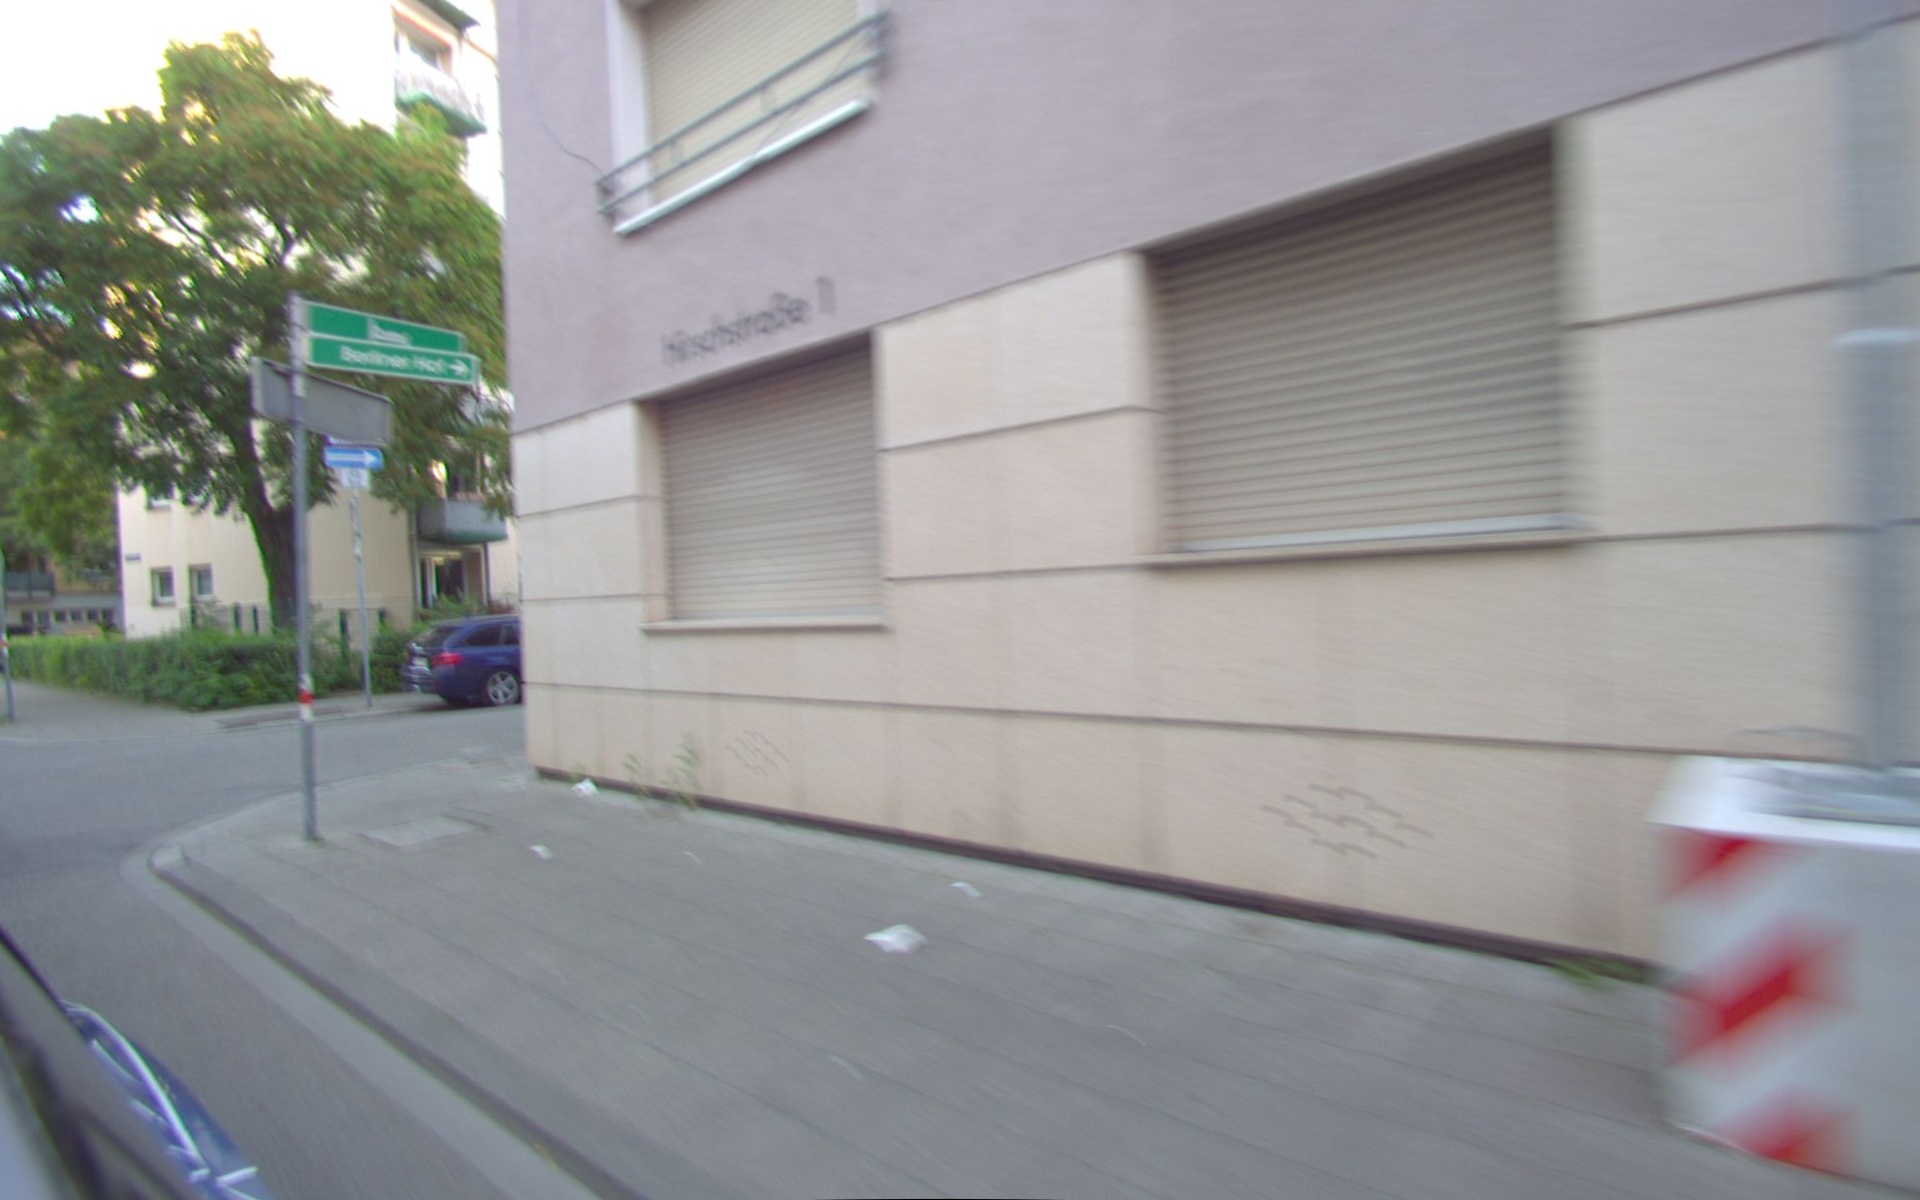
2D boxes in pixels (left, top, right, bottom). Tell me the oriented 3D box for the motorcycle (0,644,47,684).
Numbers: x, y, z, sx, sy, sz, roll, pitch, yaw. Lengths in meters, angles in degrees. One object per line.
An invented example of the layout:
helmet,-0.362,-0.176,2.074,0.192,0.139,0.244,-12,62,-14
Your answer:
motorcycle,-35.015,2.395,37.804,1.958,1.417,0.568,-3,-1,23

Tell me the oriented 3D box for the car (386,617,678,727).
car,-7.244,1.131,17.496,1.725,1.493,4.328,-2,0,39

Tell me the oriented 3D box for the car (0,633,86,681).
car,-43.392,2.621,47.186,4.295,2.092,2.215,0,0,19

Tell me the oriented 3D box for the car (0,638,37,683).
car,-38.783,2.437,38.988,1.986,1.708,4.362,-2,-1,21
